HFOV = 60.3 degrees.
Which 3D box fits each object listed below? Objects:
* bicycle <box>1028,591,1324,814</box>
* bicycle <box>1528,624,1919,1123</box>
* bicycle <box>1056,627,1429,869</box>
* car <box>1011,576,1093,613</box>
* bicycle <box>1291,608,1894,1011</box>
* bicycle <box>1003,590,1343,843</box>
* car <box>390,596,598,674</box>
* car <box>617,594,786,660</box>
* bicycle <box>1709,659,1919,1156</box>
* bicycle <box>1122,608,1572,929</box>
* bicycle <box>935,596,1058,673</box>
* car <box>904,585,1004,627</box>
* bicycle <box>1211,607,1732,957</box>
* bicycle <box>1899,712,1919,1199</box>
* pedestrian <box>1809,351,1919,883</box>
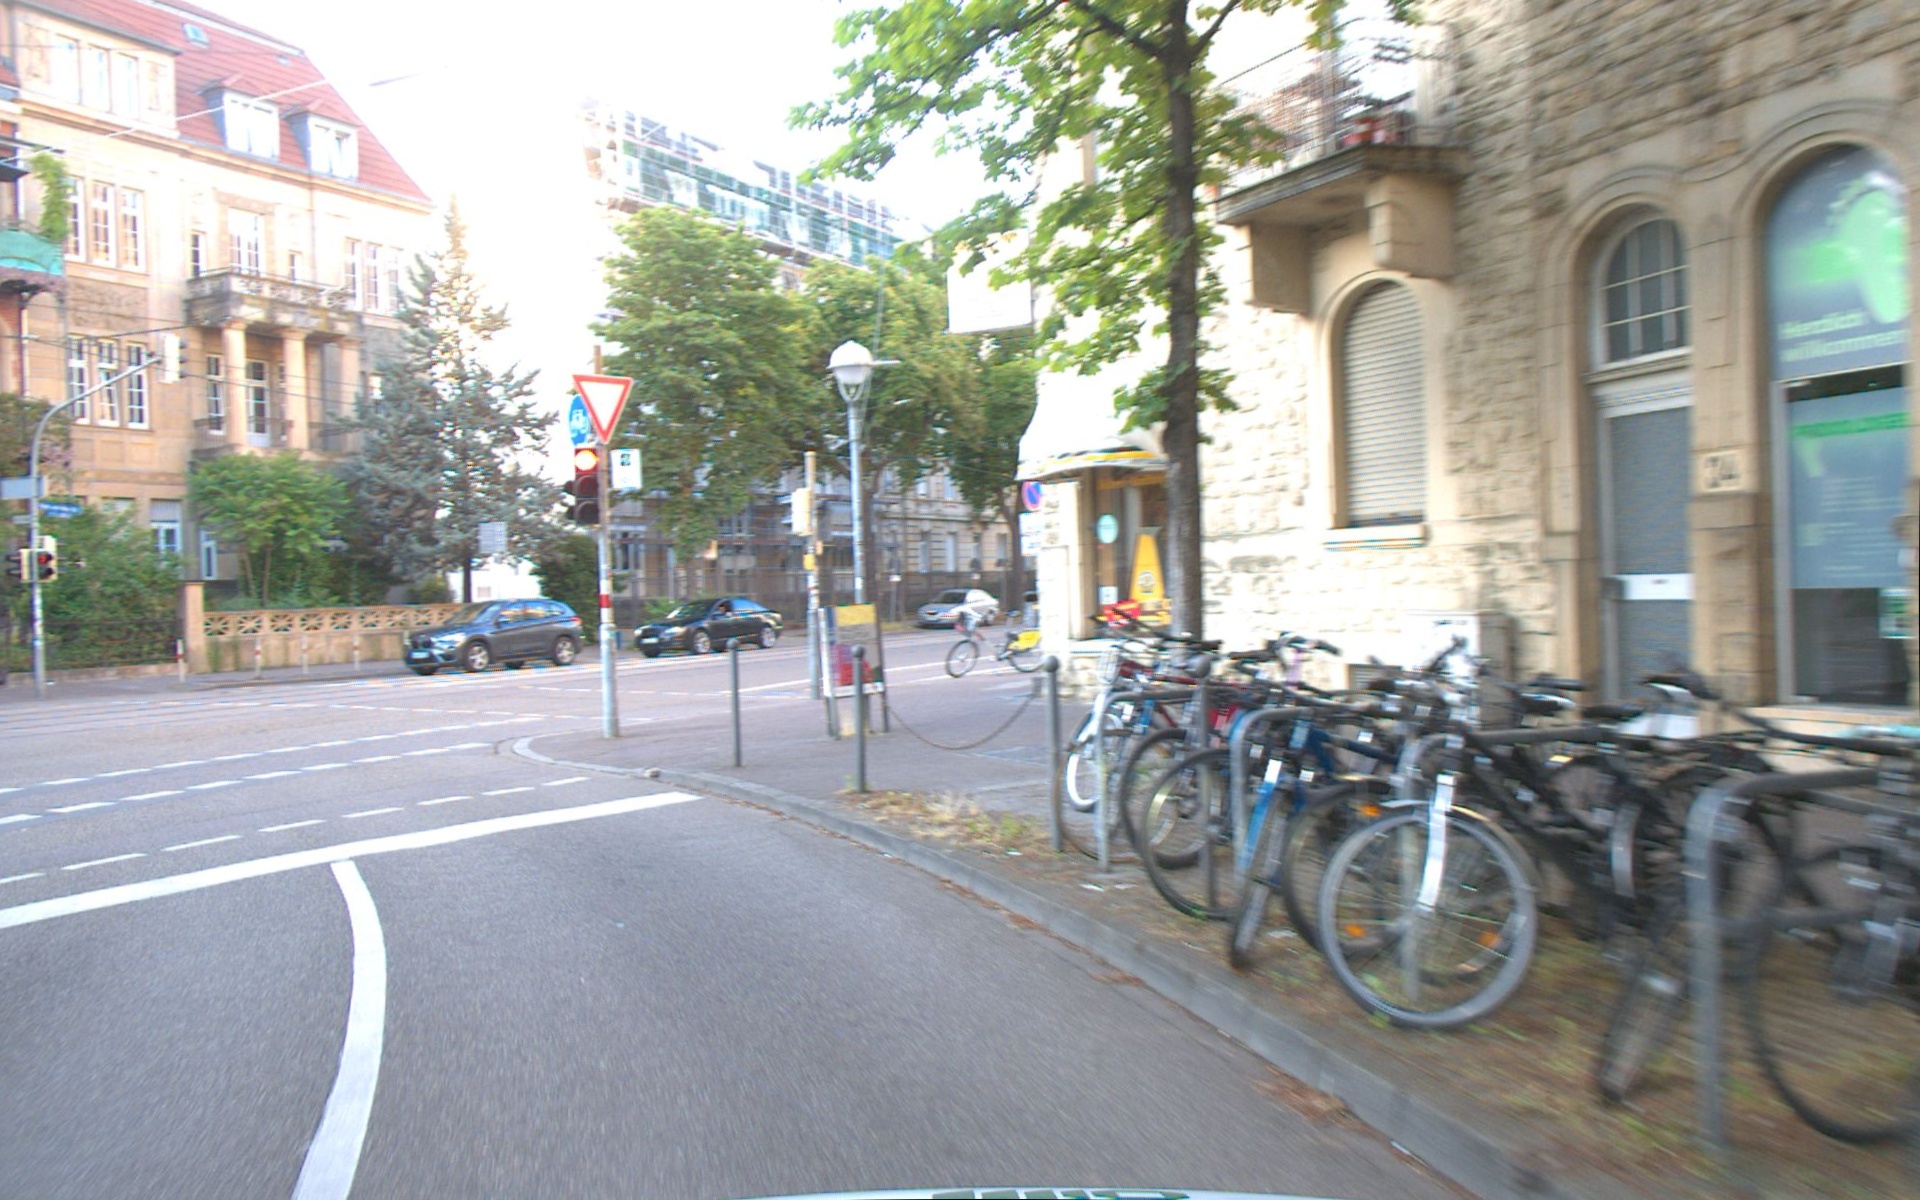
[{"bbox_3d":[1.376,0.610,10.479,1.764,1.258,0.646,-2,0,-25],"label":"bicycle"},{"bbox_3d":[2.404,0.676,4.388,1.637,1.147,0.486,-2,6,-6],"label":"bicycle"},{"bbox_3d":[1.455,0.708,8.487,1.777,1.056,0.695,-2,0,-23],"label":"bicycle"},{"bbox_3d":[4.083,-0.261,72.940,1.908,1.508,4.160,-2,1,30],"label":"car"},{"bbox_3d":[2.170,0.660,5.738,1.853,1.182,0.702,-2,0,-13],"label":"bicycle"},{"bbox_3d":[1.203,0.610,9.313,1.763,1.258,0.695,-2,0,-23],"label":"bicycle"},{"bbox_3d":[-10.446,0.766,37.372,1.908,1.536,4.411,-2,1,30],"label":"car"},{"bbox_3d":[-6.763,0.686,43.762,1.908,1.536,4.623,-2,1,30],"label":"car"},{"bbox_3d":[2.794,0.697,4.137,1.638,1.097,0.485,-2,0,-7],"label":"bicycle"},{"bbox_3d":[1.685,0.665,7.158,1.860,1.182,0.636,-2,0,-23],"label":"bicycle"},{"bbox_3d":[0.580,0.539,26.370,1.837,1.150,0.730,-2,0,-9],"label":"bicycle"},{"bbox_3d":[-0.175,0.209,63.803,1.965,1.451,4.628,-2,1,26],"label":"car"},{"bbox_3d":[1.986,0.659,6.474,1.853,1.183,0.638,-2,0,-13],"label":"bicycle"},{"bbox_3d":[2.618,0.727,3.049,1.642,1.097,0.484,-2,0,-14],"label":"bicycle"},{"bbox_3d":[4.291,0.052,6.738,0.992,2.122,1.058,-3,1,-10],"label":"pedestrian"}]
